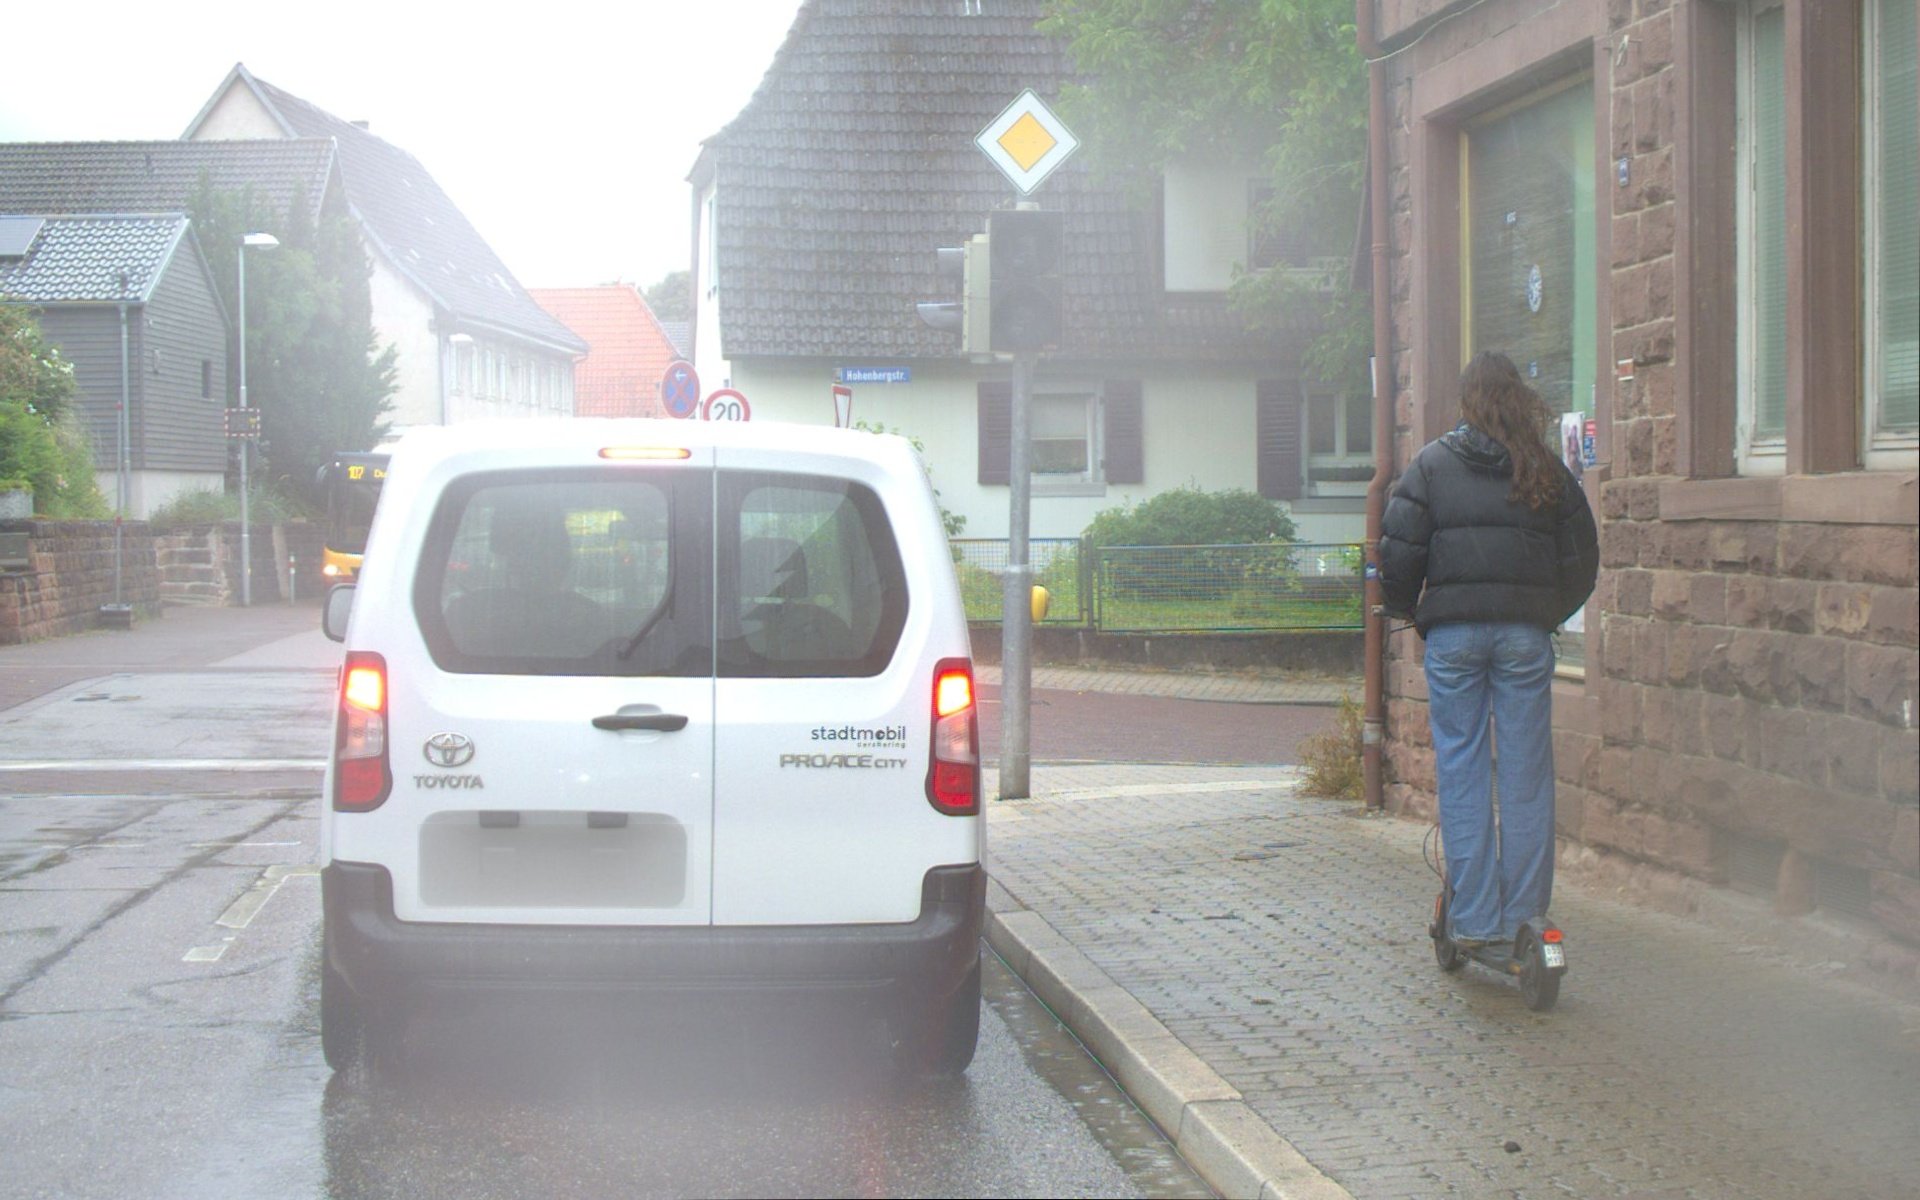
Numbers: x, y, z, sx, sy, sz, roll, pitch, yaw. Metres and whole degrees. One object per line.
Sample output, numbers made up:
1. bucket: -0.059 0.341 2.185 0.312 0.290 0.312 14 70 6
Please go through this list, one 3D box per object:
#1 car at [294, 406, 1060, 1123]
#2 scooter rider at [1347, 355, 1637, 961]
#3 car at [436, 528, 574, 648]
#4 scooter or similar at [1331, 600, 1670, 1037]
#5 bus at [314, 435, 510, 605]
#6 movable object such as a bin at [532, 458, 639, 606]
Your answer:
1. car: -0.909 0.376 10.555 1.894 1.787 3.814 1 1 -6
2. scooter rider: 1.553 0.162 10.094 0.731 1.727 0.518 0 1 -6
3. car: -6.439 -0.206 48.938 1.809 1.591 3.756 1 1 -6
4. scooter or similar: 1.530 0.587 9.943 0.620 1.123 1.402 0 2 -6
5. bus: -10.549 -1.712 67.260 2.649 2.989 12.196 0 3 -4
6. movable object such as a bin: -6.939 -1.274 63.946 1.726 2.644 3.975 1 1 -3
